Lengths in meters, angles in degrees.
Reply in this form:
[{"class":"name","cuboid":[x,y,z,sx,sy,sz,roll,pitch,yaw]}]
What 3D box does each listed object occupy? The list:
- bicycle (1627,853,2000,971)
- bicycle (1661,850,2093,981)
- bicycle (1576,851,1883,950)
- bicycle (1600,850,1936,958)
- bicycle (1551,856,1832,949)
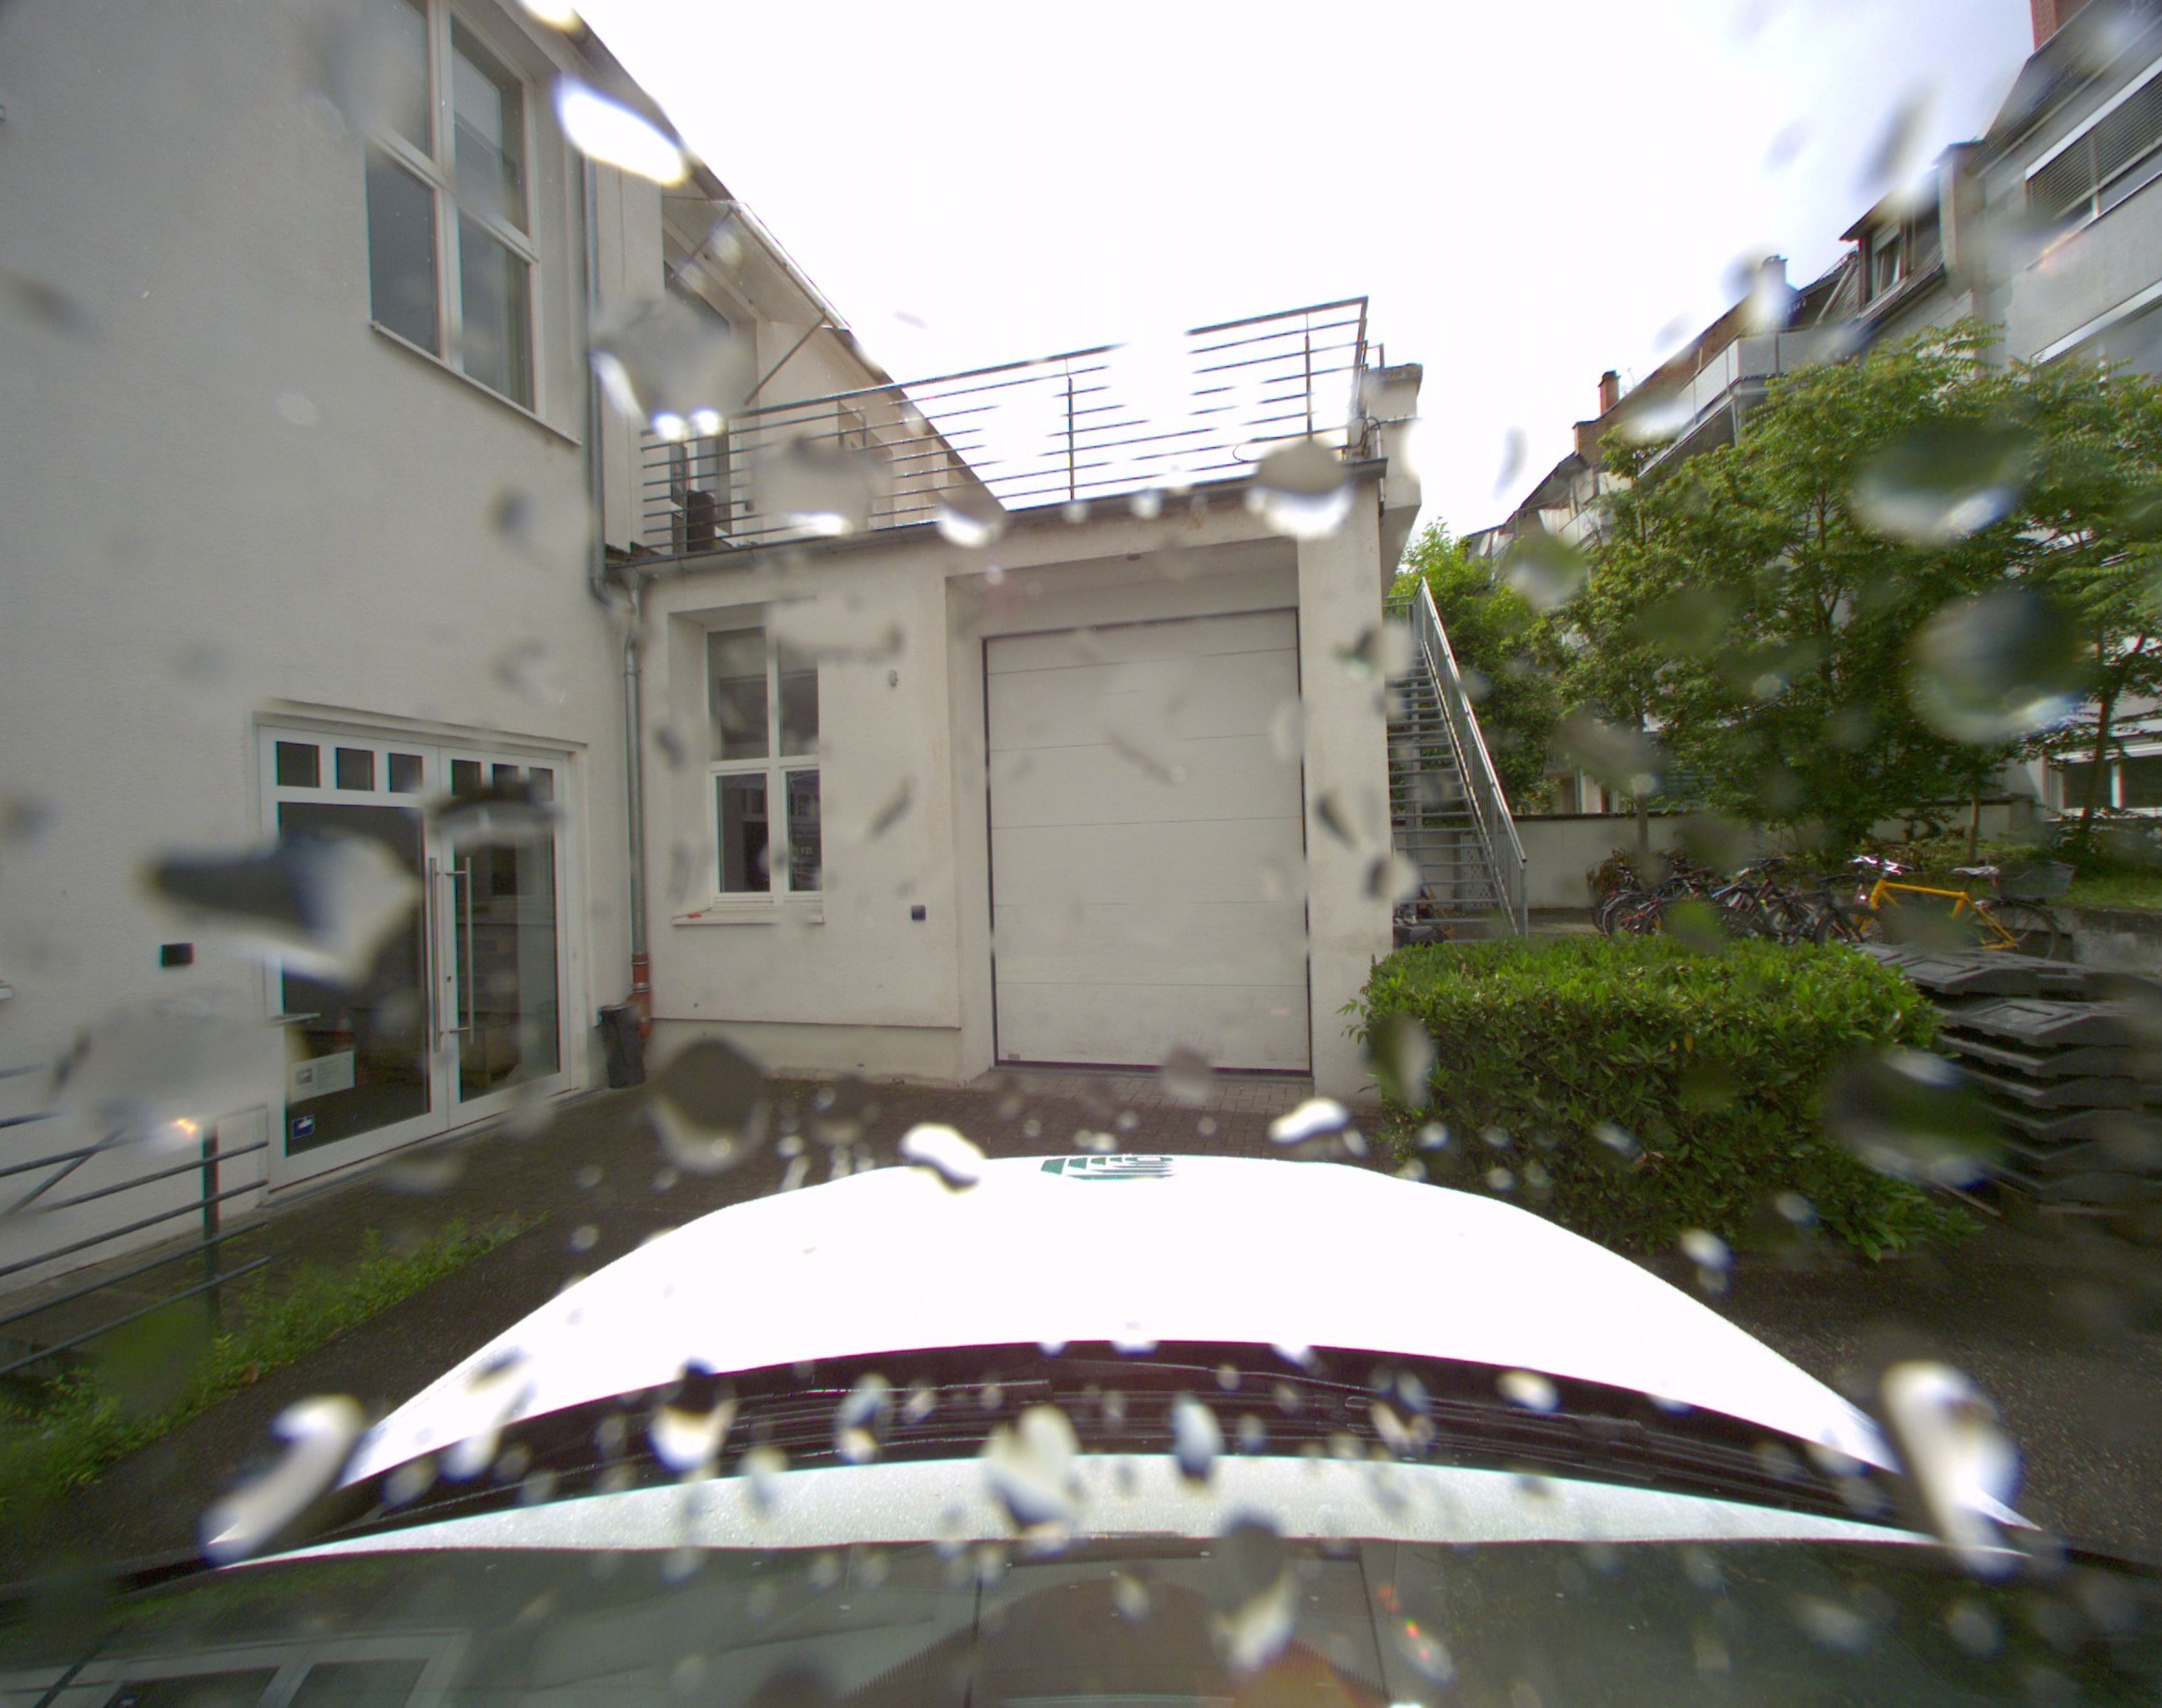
[{"class":"bicycle","cuboid":[7.196,0.547,8.158,2.825,1.078,0.691,0,1,11]},{"class":"bicycle","cuboid":[7.055,0.513,7.387,2.904,1.078,0.691,0,1,11]},{"class":"bicycle","cuboid":[7.503,0.518,9.567,2.825,1.078,0.691,0,1,11]},{"class":"bicycle","cuboid":[7.354,0.515,8.866,2.825,1.078,0.691,0,1,11]},{"class":"bicycle","cuboid":[7.599,0.583,10.274,2.825,1.078,0.691,0,1,11]}]
